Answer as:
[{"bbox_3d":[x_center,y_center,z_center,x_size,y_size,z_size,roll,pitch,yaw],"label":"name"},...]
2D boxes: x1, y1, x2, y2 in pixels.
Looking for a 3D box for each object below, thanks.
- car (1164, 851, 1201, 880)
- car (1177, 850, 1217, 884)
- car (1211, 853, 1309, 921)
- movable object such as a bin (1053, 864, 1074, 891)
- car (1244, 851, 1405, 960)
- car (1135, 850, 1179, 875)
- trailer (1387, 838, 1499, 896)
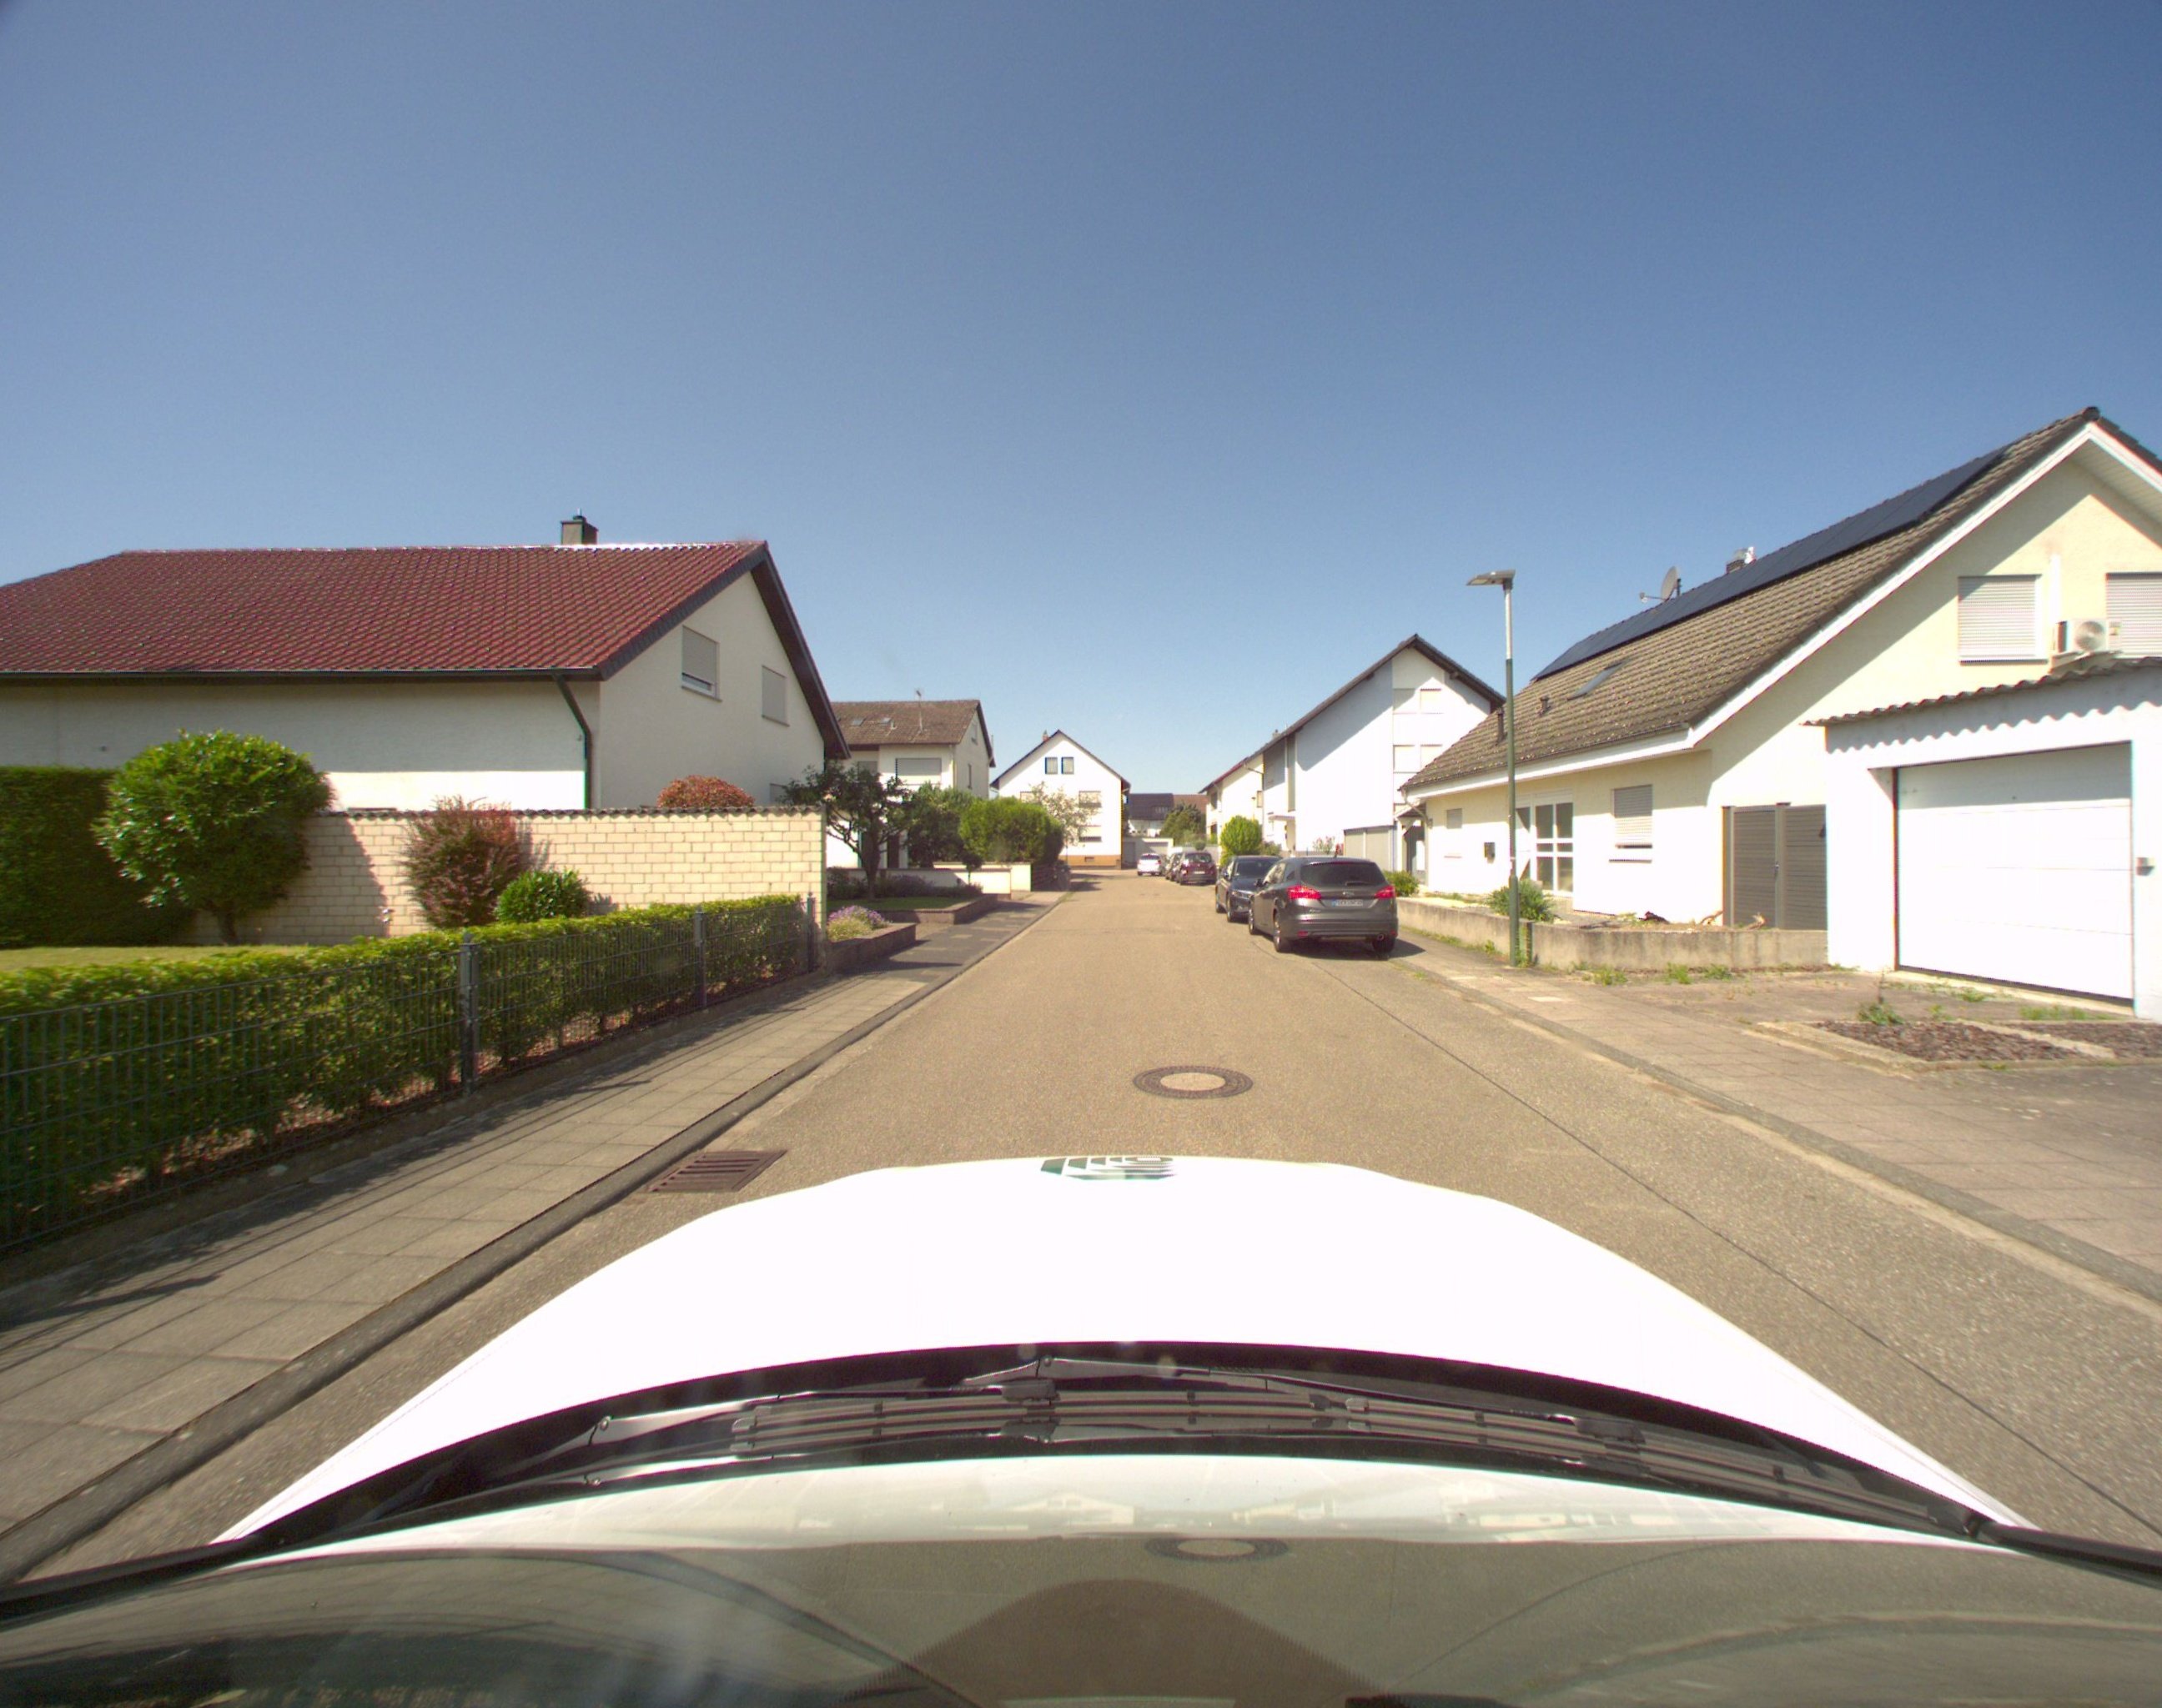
[{"bbox_3d":[5.572,0.607,45.009,1.639,1.546,4.049,-1,0,1],"label":"car"},{"bbox_3d":[5.658,0.609,40.061,1.638,1.581,4.151,-1,0,3],"label":"car"},{"bbox_3d":[4.150,0.707,19.542,1.709,1.438,4.509,0,0,5],"label":"car"},{"bbox_3d":[-0.701,0.931,32.721,0.815,1.063,0.611,-1,0,2],"label":"movable object such as a bin"},{"bbox_3d":[3.875,0.724,13.634,1.636,1.478,4.003,1,1,2],"label":"car"},{"bbox_3d":[5.013,0.556,53.255,1.630,1.581,3.831,0,0,25],"label":"car"},{"bbox_3d":[11.074,0.386,25.027,2.822,1.690,1.404,-1,0,3],"label":"trailer"}]
